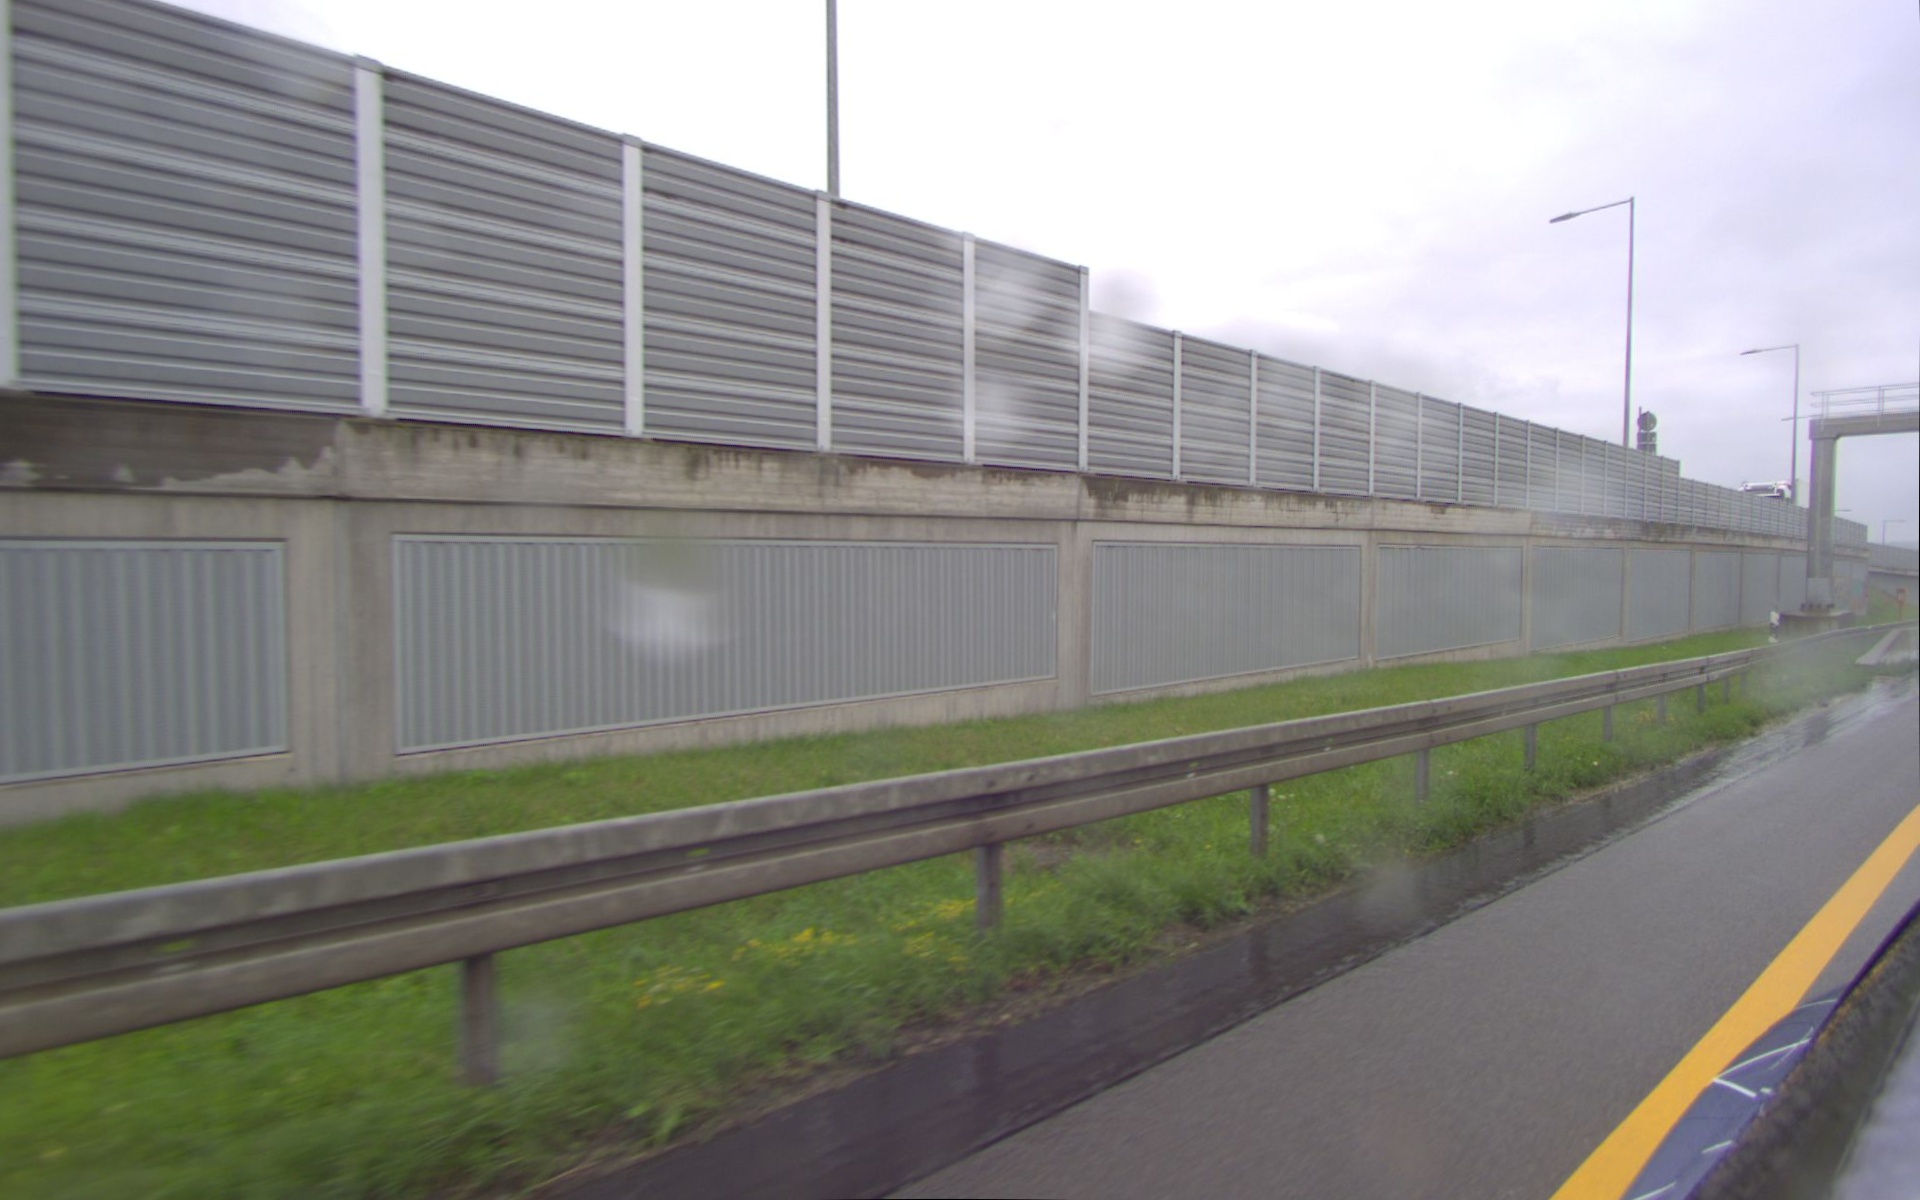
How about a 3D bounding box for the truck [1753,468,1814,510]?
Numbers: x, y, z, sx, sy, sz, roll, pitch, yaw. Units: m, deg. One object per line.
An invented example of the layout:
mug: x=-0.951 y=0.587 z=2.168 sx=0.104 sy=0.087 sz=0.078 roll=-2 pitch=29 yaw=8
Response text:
truck: x=46.286 y=-6.187 z=56.862 sx=3.988 sy=2.038 sz=1.997 roll=-2 pitch=2 yaw=-41
